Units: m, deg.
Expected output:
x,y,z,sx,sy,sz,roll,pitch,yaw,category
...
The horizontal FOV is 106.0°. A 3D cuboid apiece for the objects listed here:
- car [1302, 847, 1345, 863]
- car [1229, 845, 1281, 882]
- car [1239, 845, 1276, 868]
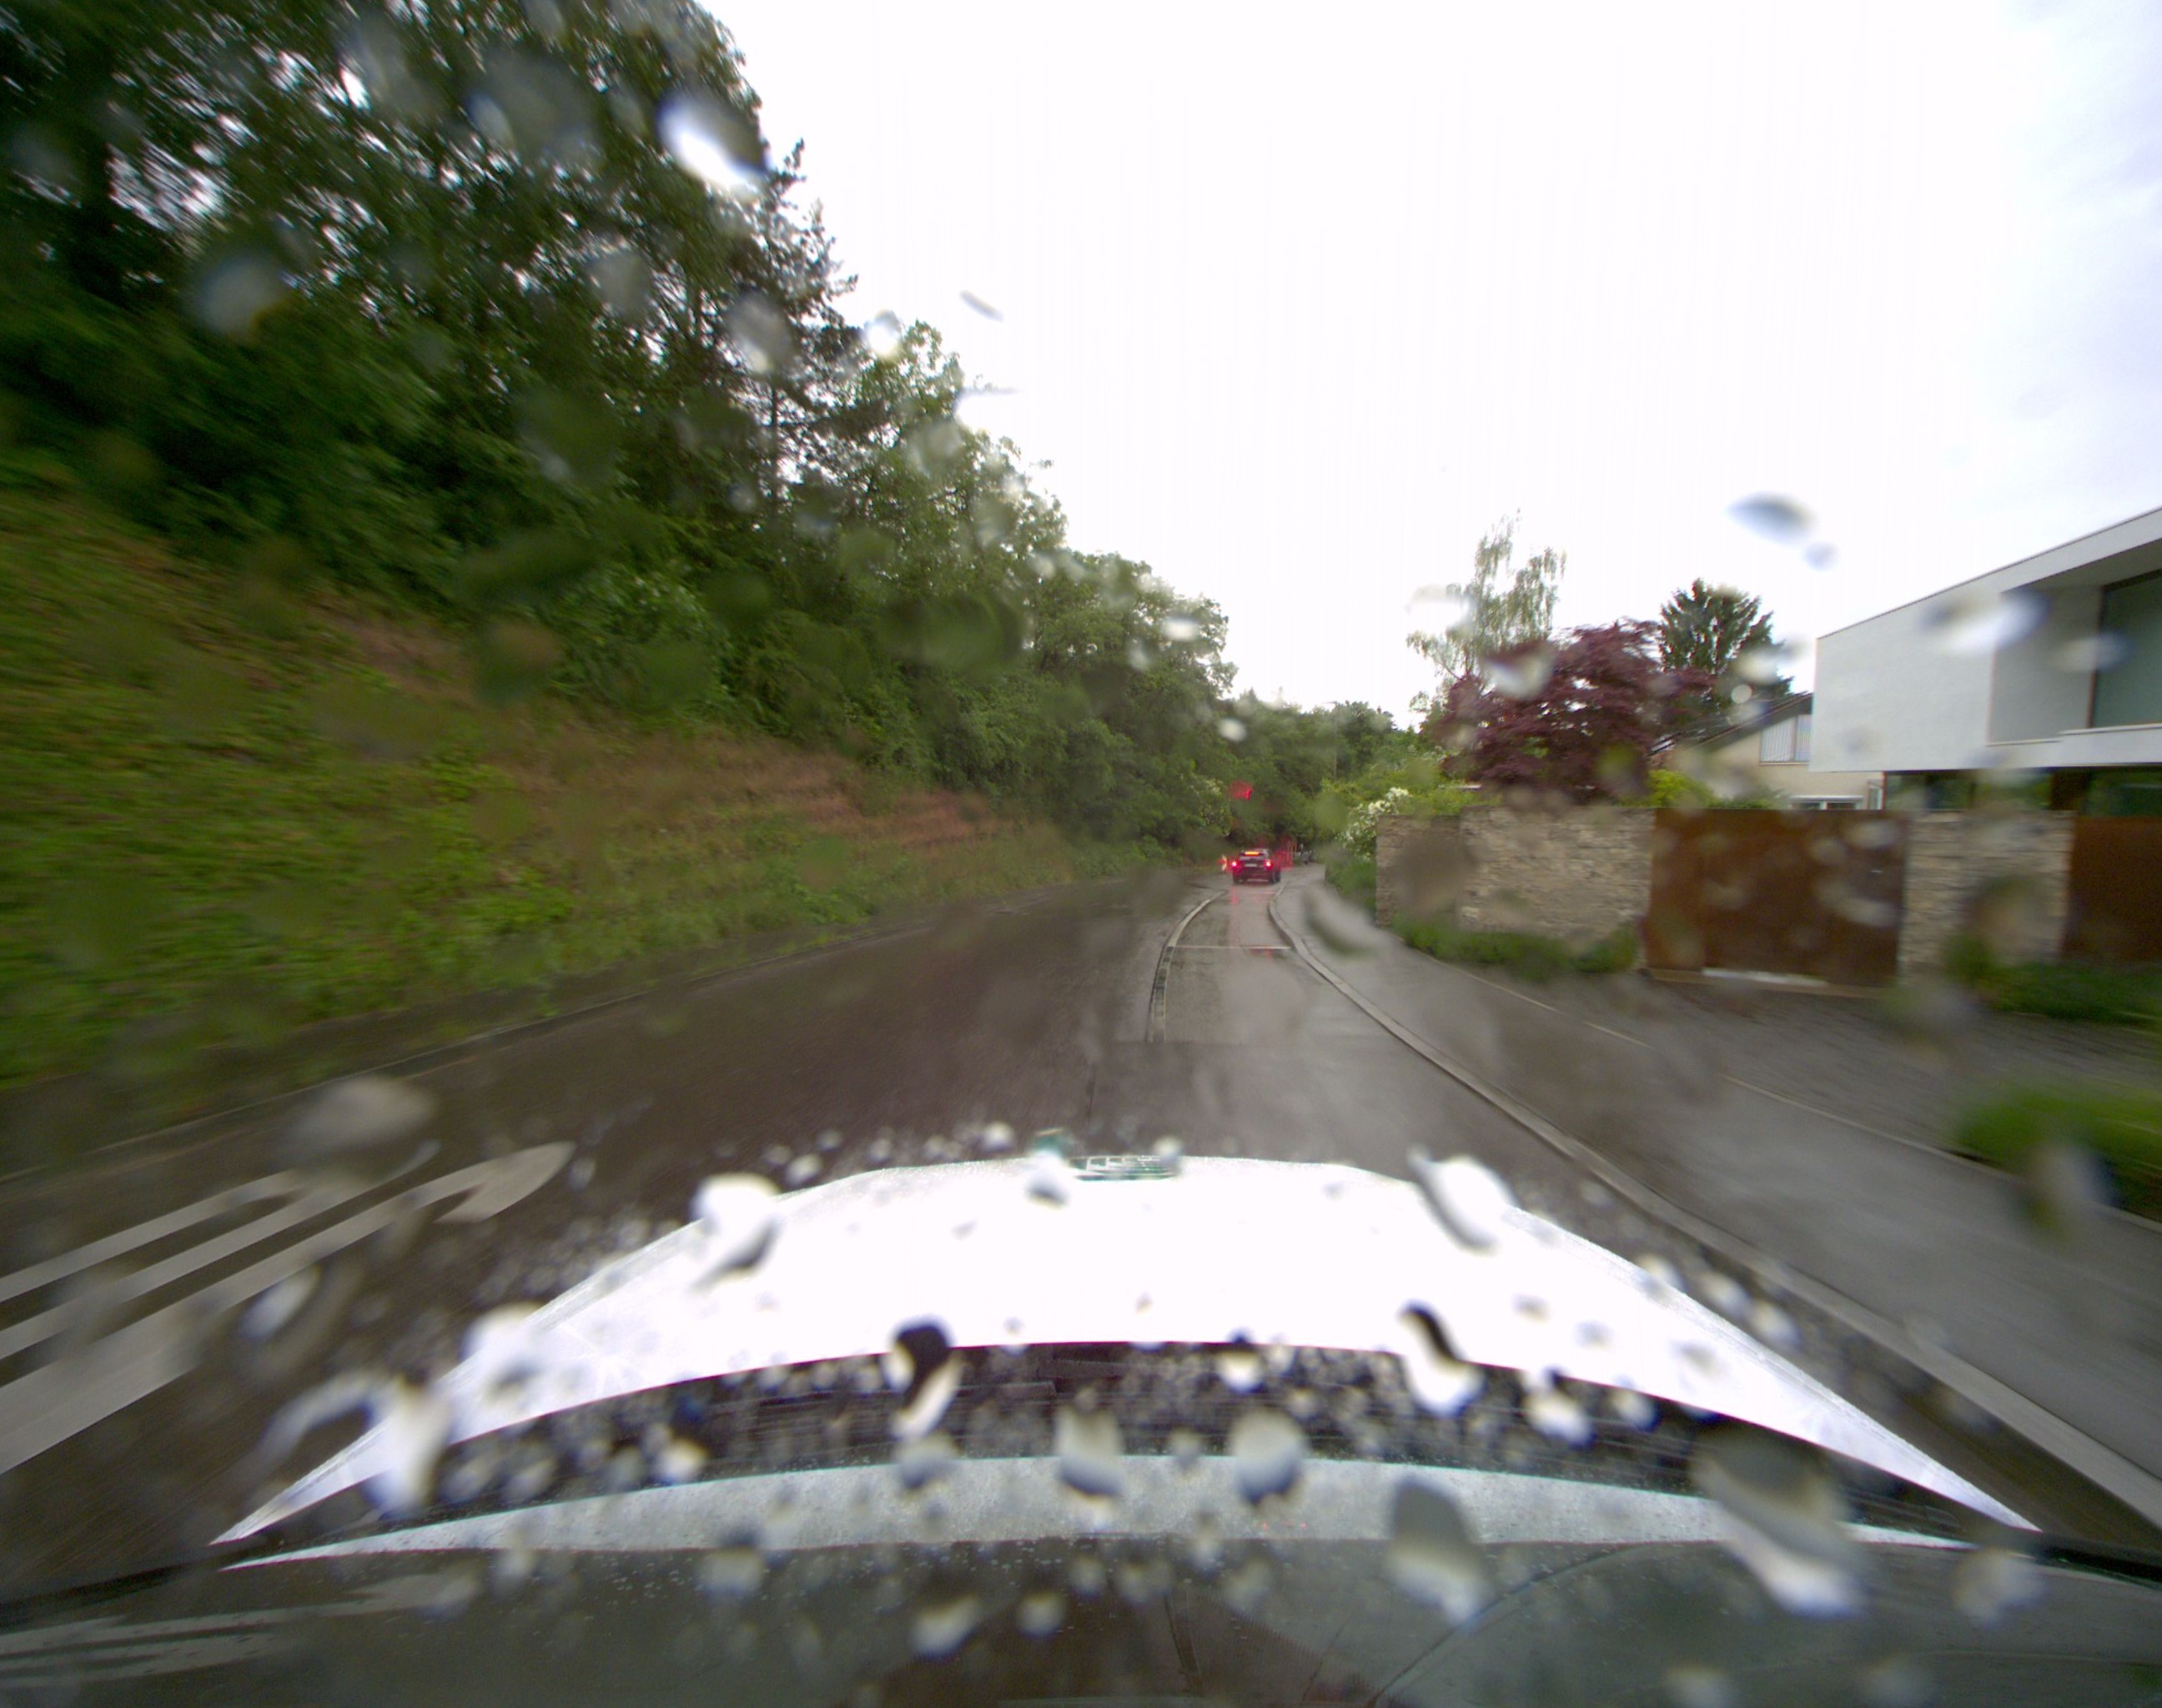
x,y,z,sx,sy,sz,roll,pitch,yaw,category
23.650,0.118,79.317,1.975,1.508,4.597,3,1,45,car
7.780,0.379,36.173,1.854,1.512,4.111,0,1,17,car
12.531,0.135,57.716,1.684,1.471,4.023,2,2,25,car
